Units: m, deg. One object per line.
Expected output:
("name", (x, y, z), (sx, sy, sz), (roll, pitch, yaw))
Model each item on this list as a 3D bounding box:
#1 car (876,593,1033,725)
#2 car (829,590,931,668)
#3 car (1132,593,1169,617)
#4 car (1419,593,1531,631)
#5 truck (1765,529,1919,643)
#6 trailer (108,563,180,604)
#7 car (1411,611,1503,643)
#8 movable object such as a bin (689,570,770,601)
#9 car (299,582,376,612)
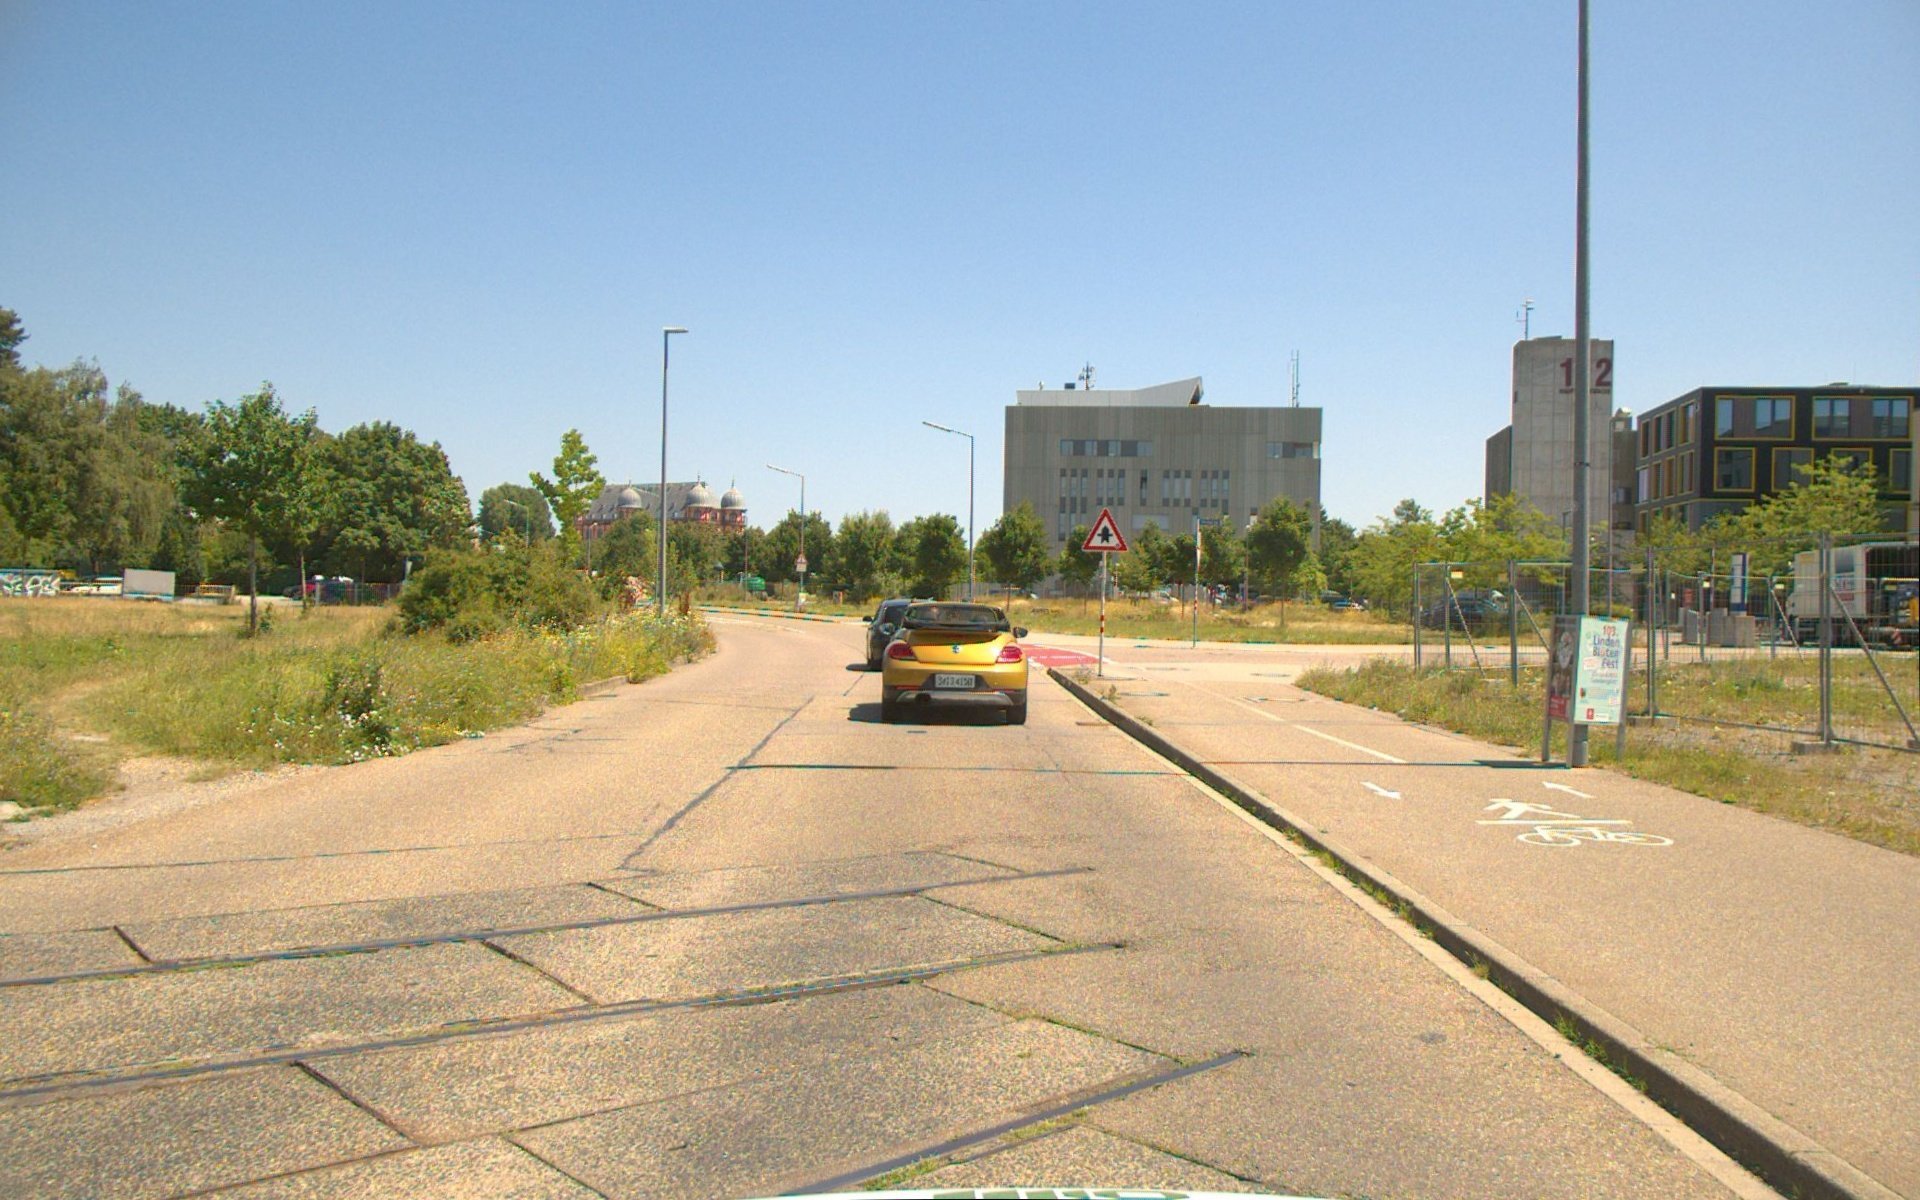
("car", (-0.069, 0.673, 20.784), (1.753, 1.462, 3.813), (2, 0, 0))
("car", (-1.607, 0.576, 34.355), (1.690, 1.468, 4.001), (1, 0, 3))
("car", (19.767, 0.522, 171.490), (3.760, 2.334, 1.744), (1, 0, 10))
("car", (22.630, 0.507, 72.813), (4.397, 1.589, 2.033), (1, 0, 8))
("truck", (31.205, -0.377, 57.141), (2.944, 3.522, 12.149), (0, -1, 11))
("trailer", (-44.429, -0.894, 90.061), (3.380, 2.081, 1.742), (2, -1, -32))
("car", (24.693, 1.322, 82.347), (4.027, 1.470, 1.963), (1, 0, 3))
("movable object such as a bin", (-25.898, -1.637, 185.357), (4.896, 3.317, 10.344), (2, 0, -34))
("car", (-42.232, -0.207, 112.169), (4.761, 1.872, 1.985), (1, 0, -25))
